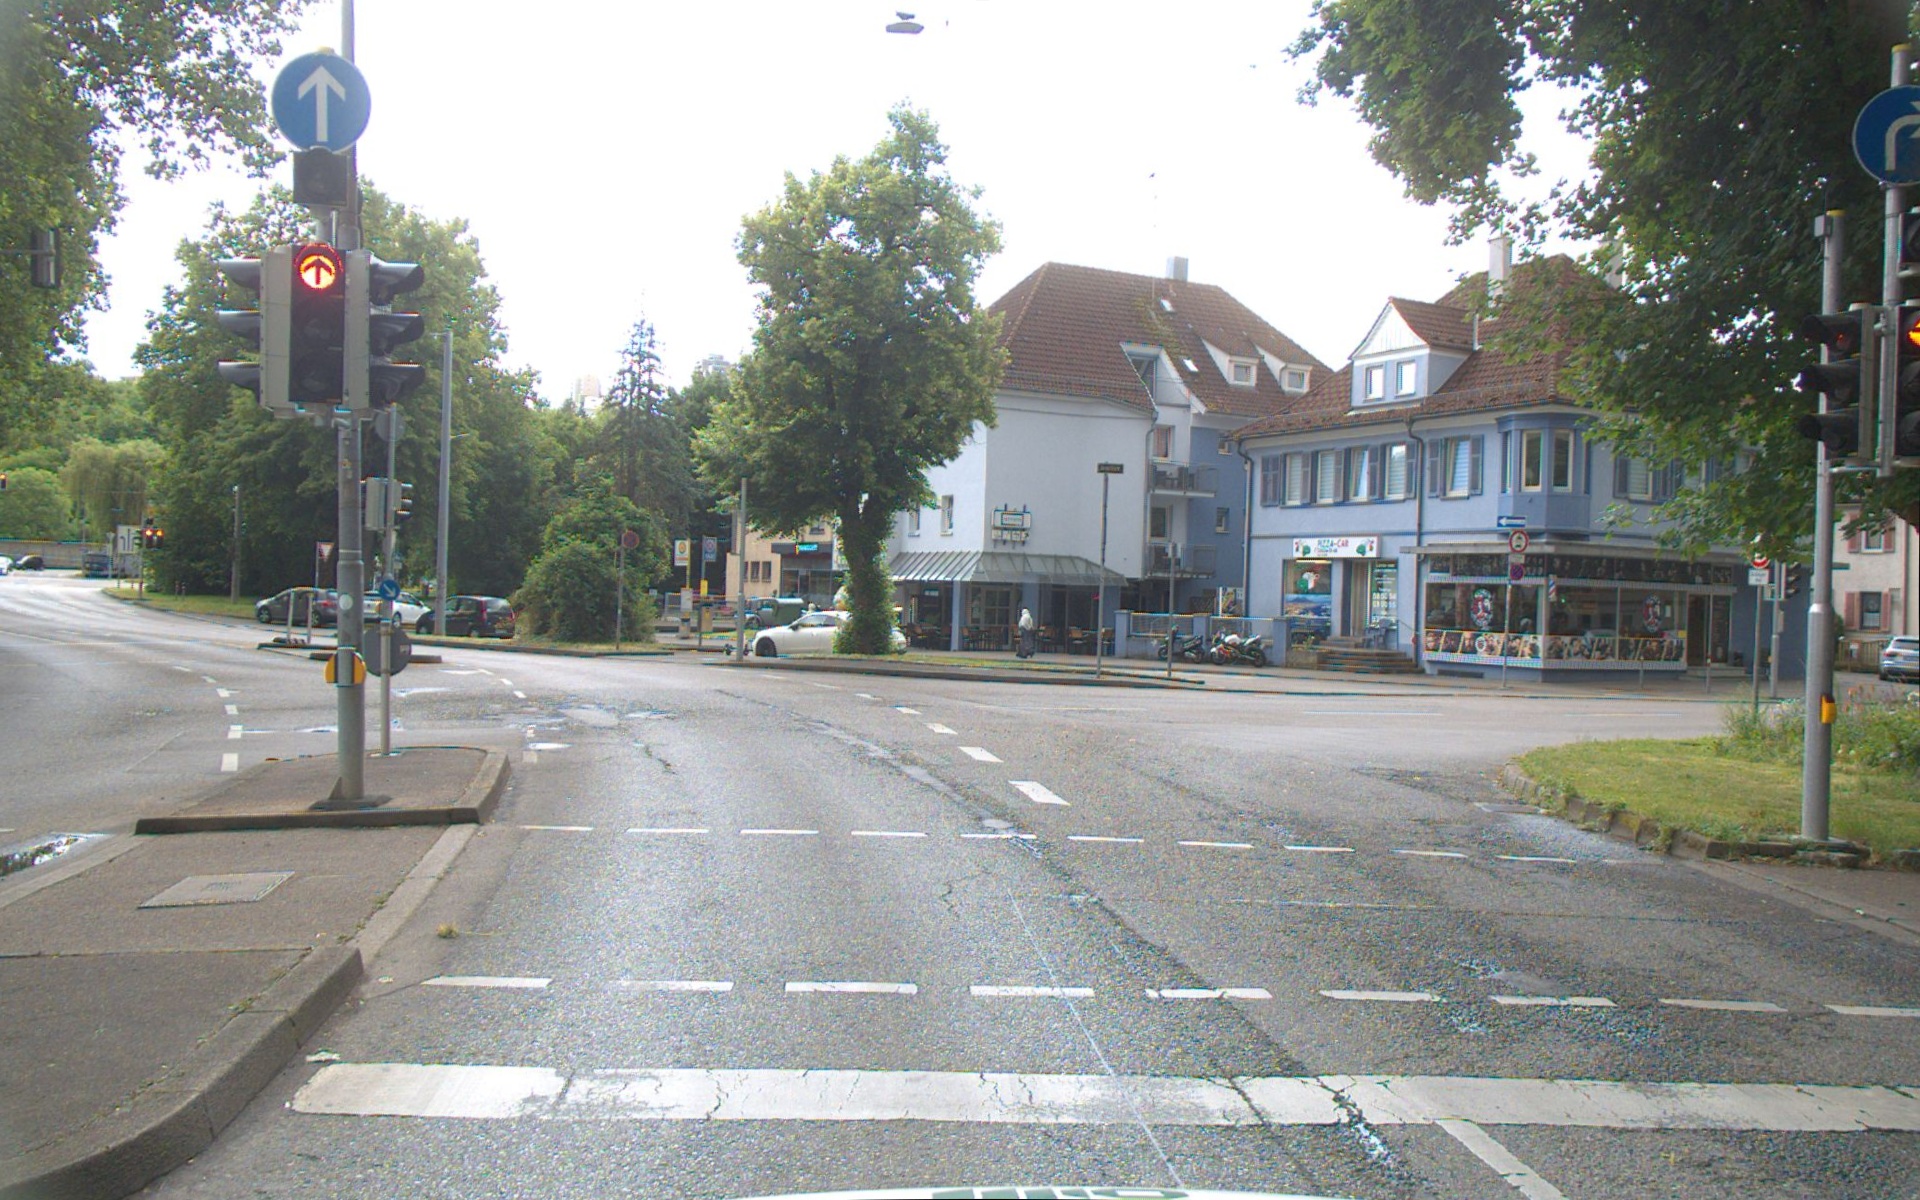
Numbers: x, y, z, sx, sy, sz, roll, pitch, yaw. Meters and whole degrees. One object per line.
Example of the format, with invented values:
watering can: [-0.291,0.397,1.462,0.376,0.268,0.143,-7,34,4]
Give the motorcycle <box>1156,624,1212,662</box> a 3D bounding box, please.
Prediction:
motorcycle: [6.796,1.296,50.234,1.609,1.082,0.690,1,0,44]

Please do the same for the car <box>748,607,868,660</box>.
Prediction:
car: [-4.241,0.920,45.955,3.110,1.378,1.435,1,0,34]

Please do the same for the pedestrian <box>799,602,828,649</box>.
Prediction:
pedestrian: [-4.965,0.864,56.141,0.694,1.572,0.675,1,0,39]

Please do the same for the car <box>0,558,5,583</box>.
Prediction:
car: [-73.107,-2.247,122.286,3.919,1.814,1.993,1,0,-14]

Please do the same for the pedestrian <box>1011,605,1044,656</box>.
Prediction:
pedestrian: [2.124,0.957,51.850,0.754,1.572,0.675,1,-1,38]

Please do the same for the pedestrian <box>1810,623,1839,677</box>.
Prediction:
pedestrian: [24.798,1.430,47.421,0.451,1.544,0.584,1,-1,-21]

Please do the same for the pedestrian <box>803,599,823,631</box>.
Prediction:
pedestrian: [-7.165,0.731,80.495,0.670,1.572,0.699,2,0,-35]

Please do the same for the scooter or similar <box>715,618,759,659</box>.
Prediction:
scooter or similar: [-5.727,0.985,42.538,0.408,1.029,1.567,1,0,20]

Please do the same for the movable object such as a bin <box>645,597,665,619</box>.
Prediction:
movable object such as a bin: [-15.851,0.400,85.911,0.937,1.135,0.381,1,0,-22]

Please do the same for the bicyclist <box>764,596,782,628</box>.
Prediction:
bicyclist: [-9.347,0.615,82.818,0.721,1.568,0.600,1,0,10]

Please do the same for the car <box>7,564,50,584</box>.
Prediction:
car: [-102.218,-2.815,181.483,3.948,2.049,1.978,1,0,-32]

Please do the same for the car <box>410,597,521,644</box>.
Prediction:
car: [-16.004,0.662,53.459,3.519,1.418,1.468,1,0,32]

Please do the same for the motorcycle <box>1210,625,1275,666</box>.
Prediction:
motorcycle: [8.276,1.313,48.478,1.765,1.141,0.692,1,0,38]

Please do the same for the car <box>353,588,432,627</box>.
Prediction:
car: [-22.666,0.311,66.180,1.512,1.490,3.398,1,0,10]

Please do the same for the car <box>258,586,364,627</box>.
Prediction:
car: [-24.856,0.249,63.390,3.469,1.490,1.586,1,0,12]

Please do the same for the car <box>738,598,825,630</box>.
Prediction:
car: [-8.156,0.646,75.729,3.690,1.368,1.421,1,0,-27]

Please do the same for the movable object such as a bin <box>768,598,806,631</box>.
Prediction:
movable object such as a bin: [-7.716,0.662,73.838,1.424,1.433,0.959,1,0,-27]

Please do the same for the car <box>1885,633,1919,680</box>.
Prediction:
car: [29.855,1.740,51.412,1.471,1.393,3.164,1,0,38]
